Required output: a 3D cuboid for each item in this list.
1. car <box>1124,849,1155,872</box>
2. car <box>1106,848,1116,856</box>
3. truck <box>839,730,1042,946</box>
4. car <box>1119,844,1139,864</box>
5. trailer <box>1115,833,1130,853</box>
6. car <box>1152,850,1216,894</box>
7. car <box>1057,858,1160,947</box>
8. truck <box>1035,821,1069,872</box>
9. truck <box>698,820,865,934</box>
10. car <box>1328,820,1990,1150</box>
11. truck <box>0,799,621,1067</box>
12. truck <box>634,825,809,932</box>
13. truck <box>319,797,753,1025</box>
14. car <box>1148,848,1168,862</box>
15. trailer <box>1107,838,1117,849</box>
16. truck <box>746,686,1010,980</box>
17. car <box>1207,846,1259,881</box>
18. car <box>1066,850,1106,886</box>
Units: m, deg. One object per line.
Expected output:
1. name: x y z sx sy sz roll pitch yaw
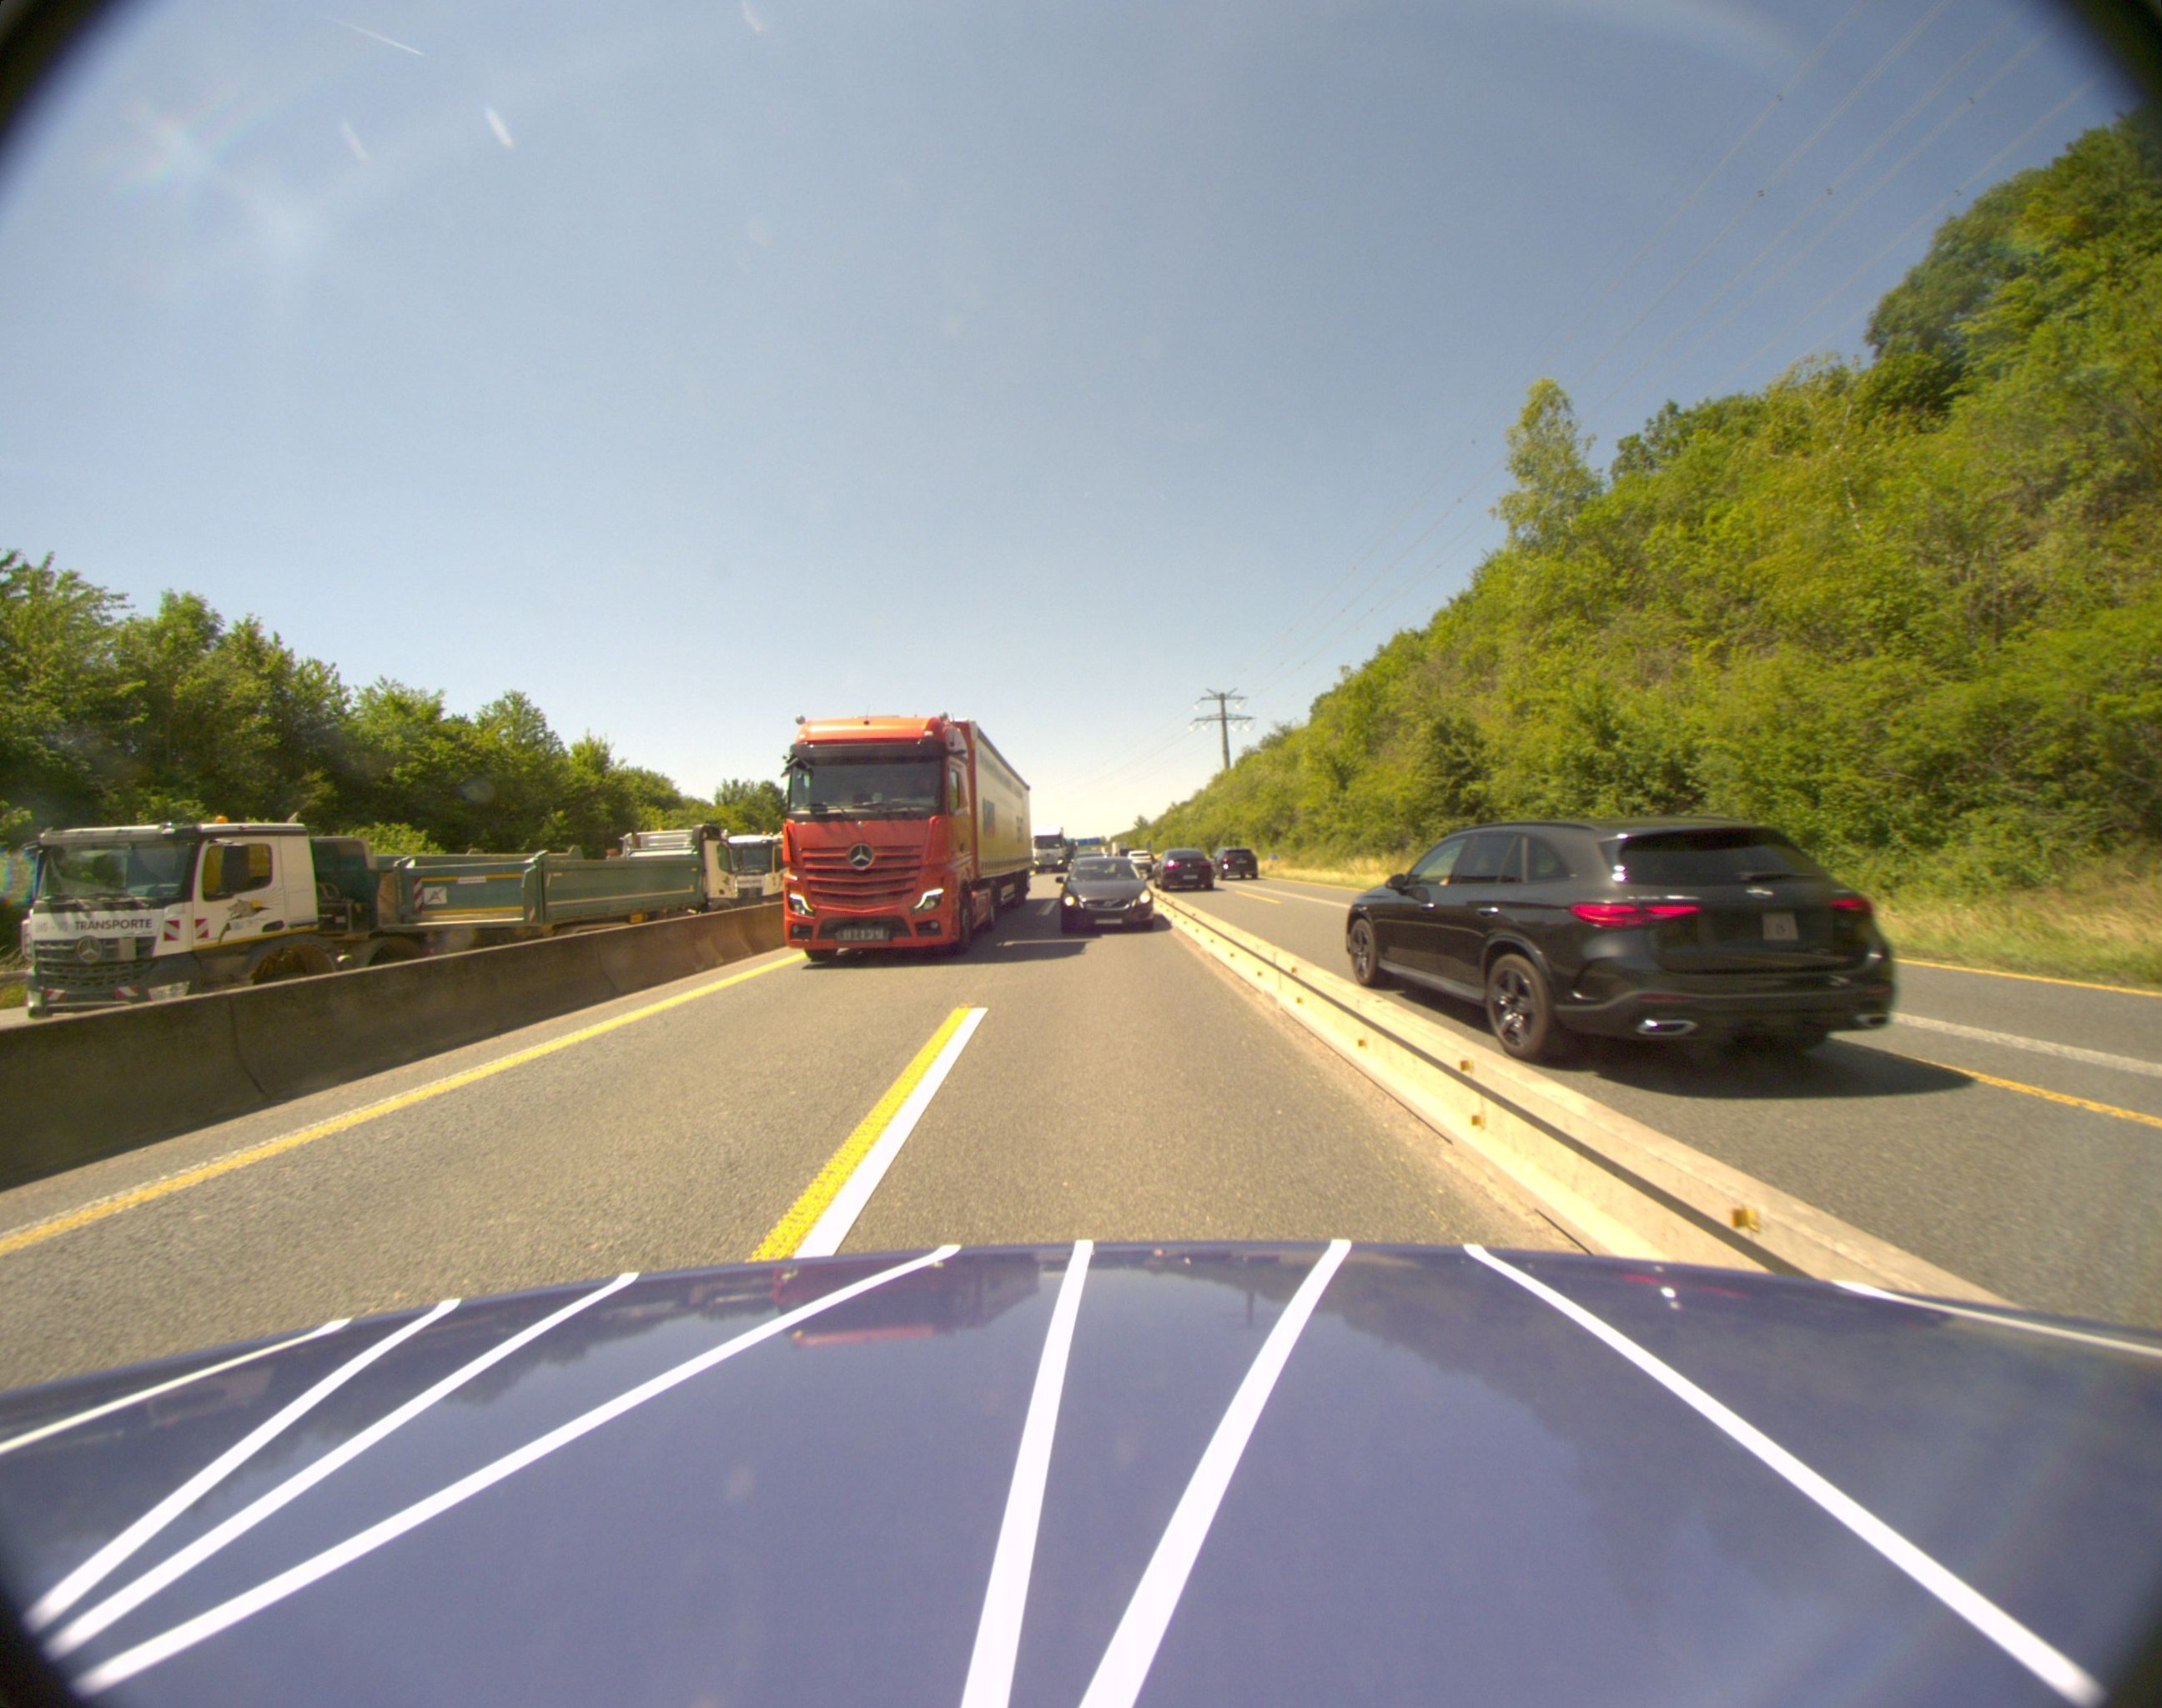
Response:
1. car: 4.296 0.479 56.157 1.848 1.525 4.671 -4 0 0
2. car: 6.110 -0.375 154.860 1.717 1.417 4.169 -3 1 0
3. truck: -3.011 -0.387 21.009 2.689 3.987 13.217 -3 1 1
4. car: 5.082 0.003 80.926 1.895 2.002 4.817 -3 0 1
5. trailer: 9.528 -2.484 174.306 2.644 4.288 8.446 -3 0 0
6. car: 3.876 0.627 29.310 1.848 1.525 4.671 -1 0 0
7. car: 0.512 0.865 15.603 1.767 1.411 4.698 -2 1 1
8. truck: -2.498 -0.653 68.600 2.481 4.030 13.109 -2 0 0
9. truck: -10.754 0.700 28.547 2.539 3.491 8.943 -2 0 0
10. car: 3.756 0.669 6.280 1.848 1.601 4.699 -4 0 0
11. truck: -13.518 1.054 15.109 2.694 3.536 9.601 -2 0 0
12. truck: -13.671 0.804 29.898 2.694 3.491 8.379 -2 0 0
13. truck: -10.763 0.882 16.920 2.545 3.536 9.601 -2 0 0
14. car: 8.639 0.077 85.750 1.797 1.516 4.531 -3 0 1
15. trailer: 9.910 -3.212 244.839 2.657 3.317 8.918 -4 0 1
16. truck: -3.157 -0.330 13.995 2.689 3.987 6.725 -3 1 2
17. car: 7.410 0.427 37.289 1.704 1.556 3.994 -3 0 0
18. car: 0.271 0.643 37.458 1.767 1.523 4.698 -3 1 1
